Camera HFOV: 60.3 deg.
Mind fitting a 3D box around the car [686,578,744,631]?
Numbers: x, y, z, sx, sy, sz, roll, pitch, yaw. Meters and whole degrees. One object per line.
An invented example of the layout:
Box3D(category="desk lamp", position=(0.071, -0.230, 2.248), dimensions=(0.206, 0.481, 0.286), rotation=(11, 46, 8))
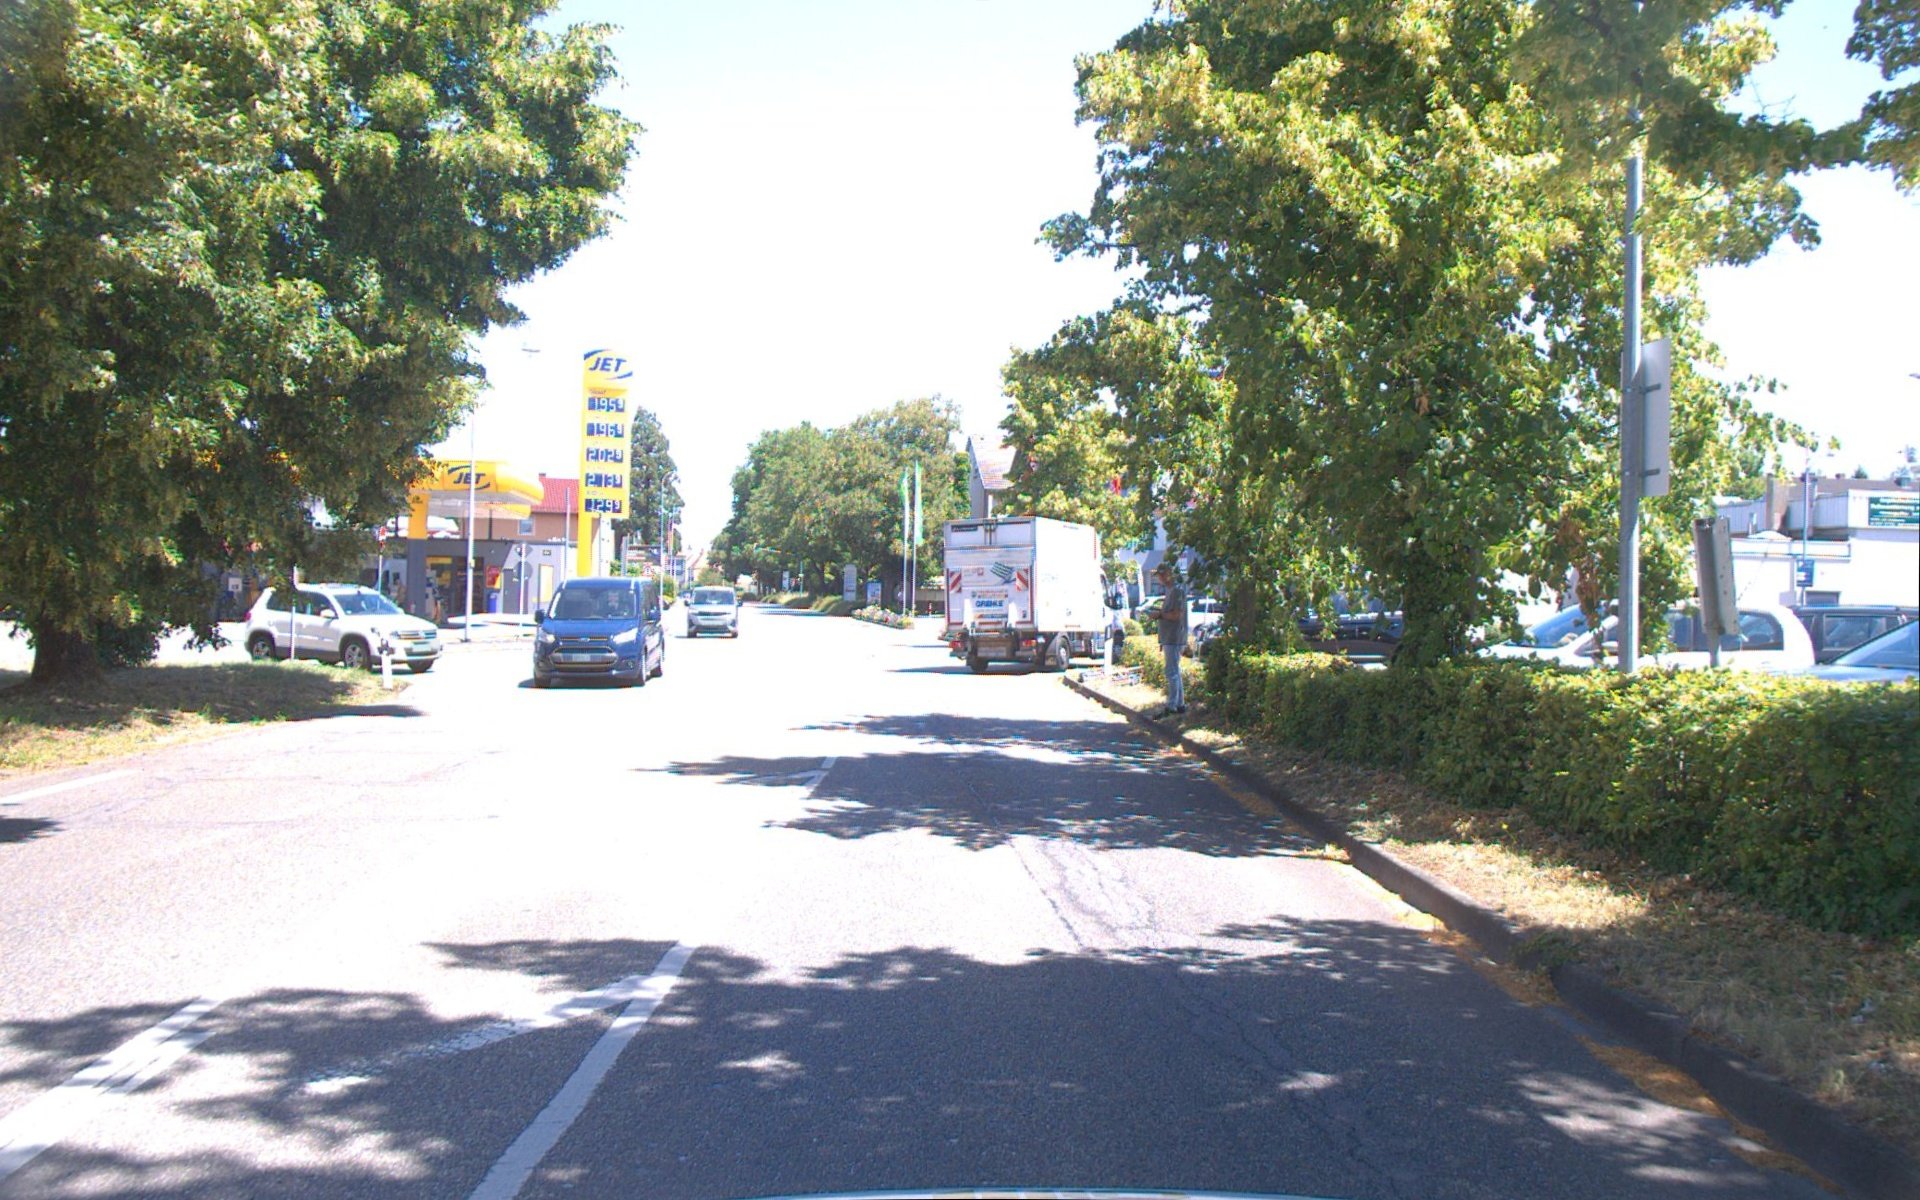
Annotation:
Box3D(category="car", position=(-8.703, 0.120, 59.025), dimensions=(1.761, 1.803, 4.360), rotation=(1, 1, -5))

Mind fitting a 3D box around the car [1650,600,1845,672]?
Box3D(category="car", position=(18.638, 0.842, 39.213), dimensions=(3.914, 1.558, 1.648), rotation=(2, 0, -10))

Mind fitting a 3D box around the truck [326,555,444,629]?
Box3D(category="truck", position=(-22.029, -0.270, 63.696), dimensions=(2.188, 2.644, 6.731), rotation=(1, 0, -1))

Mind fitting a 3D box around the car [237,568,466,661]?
Box3D(category="car", position=(-12.023, 0.244, 32.655), dimensions=(4.153, 1.702, 1.973), rotation=(1, 1, 28))

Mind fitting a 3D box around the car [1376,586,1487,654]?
Box3D(category="car", position=(14.255, 0.586, 50.219), dimensions=(1.673, 1.923, 4.249), rotation=(1, 0, -8))

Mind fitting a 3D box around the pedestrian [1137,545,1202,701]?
Box3D(category="pedestrian", position=(2.503, 0.270, 19.797), dimensions=(0.714, 1.820, 0.621), rotation=(1, -1, 5))

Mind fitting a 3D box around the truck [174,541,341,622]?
Box3D(category="truck", position=(-27.470, -0.677, 65.002), dimensions=(2.583, 2.964, 6.737), rotation=(1, 0, 12))

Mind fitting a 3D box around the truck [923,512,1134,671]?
Box3D(category="truck", position=(1.571, -0.199, 34.473), dimensions=(2.366, 3.000, 5.951), rotation=(1, 1, 24))

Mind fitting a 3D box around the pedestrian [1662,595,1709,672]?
Box3D(category="pedestrian", position=(15.658, 0.720, 35.716), dimensions=(0.664, 1.619, 0.706), rotation=(1, -1, -3))

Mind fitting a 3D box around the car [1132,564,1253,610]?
Box3D(category="car", position=(8.887, -0.476, 63.027), dimensions=(4.483, 1.670, 2.002), rotation=(1, 0, 10))

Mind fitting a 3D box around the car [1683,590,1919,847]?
Box3D(category="car", position=(7.249, 0.731, 10.890), dimensions=(4.228, 1.507, 1.807), rotation=(1, 0, -7))

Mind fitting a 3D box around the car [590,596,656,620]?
Box3D(category="car", position=(-21.434, 0.495, 105.324), dimensions=(4.050, 1.469, 1.823), rotation=(1, 0, -10))

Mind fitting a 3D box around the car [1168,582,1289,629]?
Box3D(category="car", position=(8.934, 0.181, 55.293), dimensions=(3.902, 1.486, 1.807), rotation=(1, 0, 7))

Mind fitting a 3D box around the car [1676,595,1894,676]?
Box3D(category="car", position=(18.146, 0.777, 36.463), dimensions=(3.943, 1.590, 1.806), rotation=(2, -1, -6))

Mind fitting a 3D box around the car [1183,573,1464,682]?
Box3D(category="car", position=(6.197, 0.453, 28.547), dimensions=(4.422, 1.697, 1.894), rotation=(1, 0, 0))

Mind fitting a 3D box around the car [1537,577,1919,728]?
Box3D(category="car", position=(9.160, 0.562, 19.398), dimensions=(4.210, 1.530, 1.741), rotation=(2, 0, 33))

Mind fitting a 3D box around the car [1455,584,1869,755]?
Box3D(category="car", position=(6.696, 0.641, 15.948), dimensions=(3.333, 1.532, 1.579), rotation=(1, 1, -8))

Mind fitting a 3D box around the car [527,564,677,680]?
Box3D(category="car", position=(-6.055, 0.325, 28.472), dimensions=(1.787, 1.812, 4.779), rotation=(0, 0, -3))

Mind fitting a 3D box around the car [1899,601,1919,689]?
Box3D(category="car", position=(18.517, 0.847, 28.499), dimensions=(3.649, 1.530, 1.817), rotation=(2, 0, -4))
